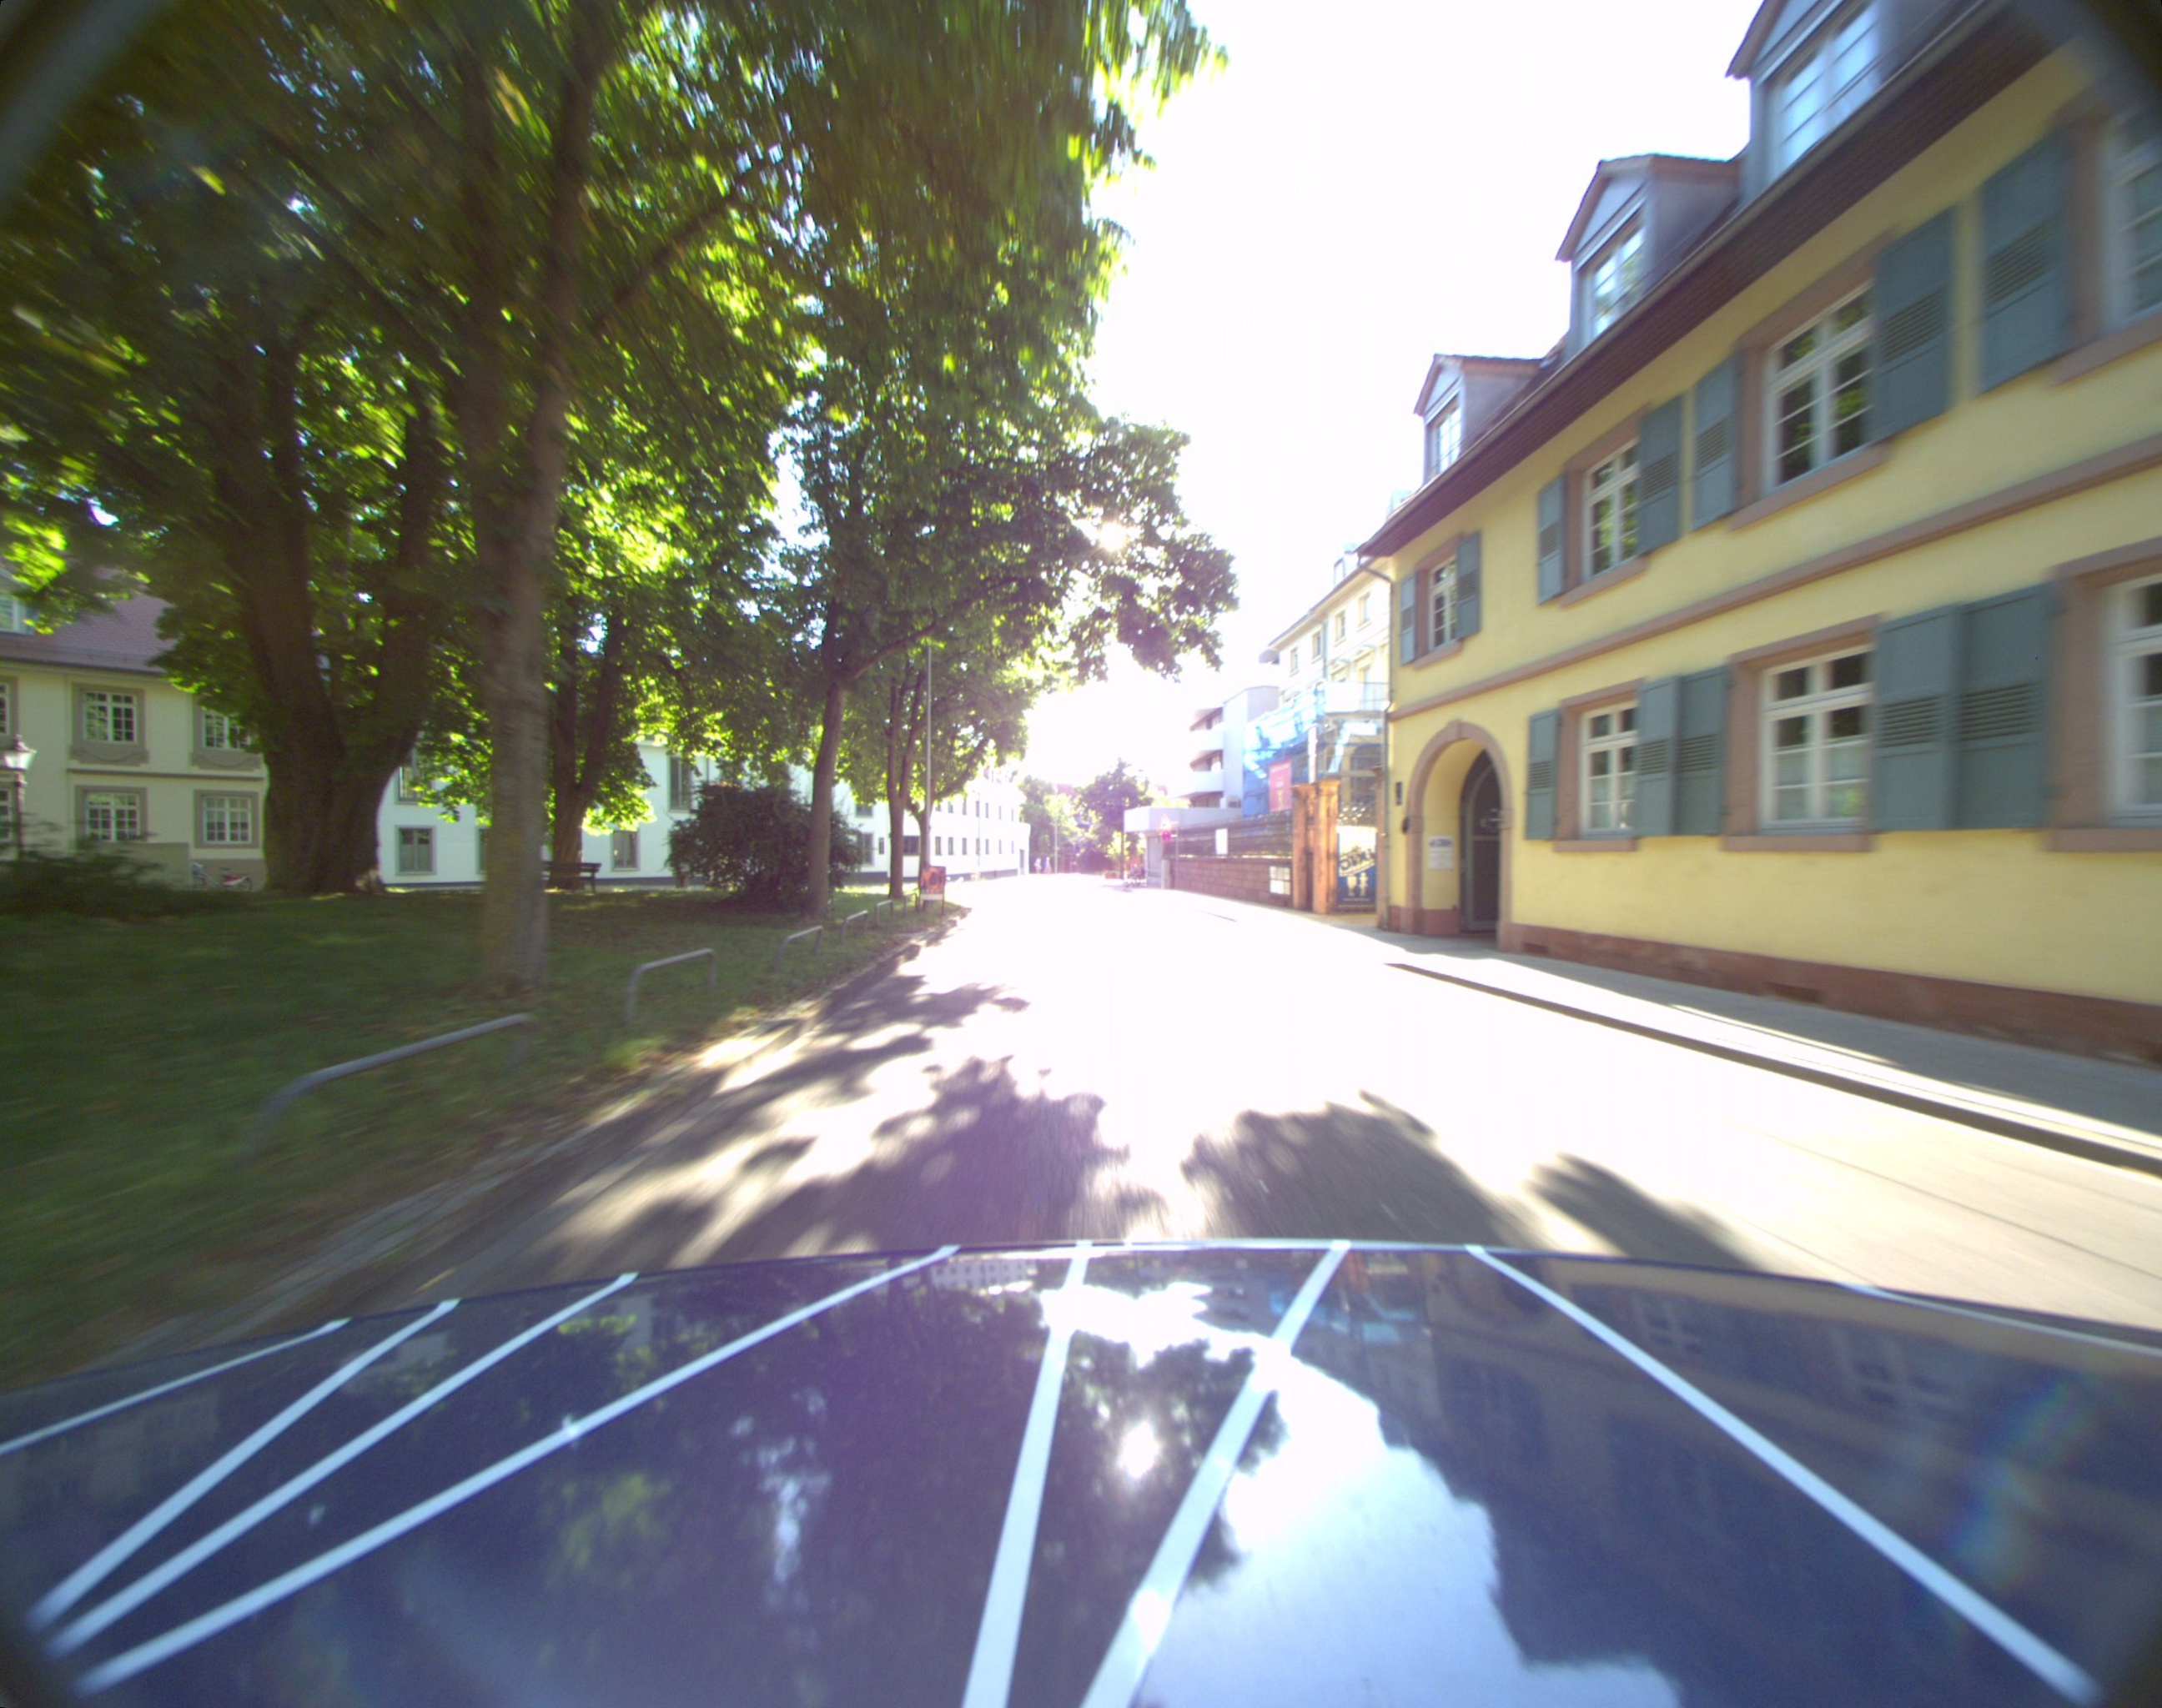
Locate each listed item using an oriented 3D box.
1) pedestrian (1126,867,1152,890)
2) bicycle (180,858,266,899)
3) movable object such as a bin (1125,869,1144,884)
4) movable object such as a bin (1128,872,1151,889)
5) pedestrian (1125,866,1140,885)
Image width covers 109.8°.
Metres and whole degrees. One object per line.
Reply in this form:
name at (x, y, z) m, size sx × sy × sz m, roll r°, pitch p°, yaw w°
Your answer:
pedestrian at (3.323, 1.387, 43.367) m, size 1.155 × 1.222 × 0.842 m, roll -2°, pitch 1°, yaw 30°
bicycle at (-28.735, 0.808, 25.488) m, size 1.767 × 1.310 × 0.720 m, roll 1°, pitch 0°, yaw -34°
movable object such as a bin at (3.538, 1.494, 49.997) m, size 1.038 × 0.923 × 0.840 m, roll -2°, pitch 1°, yaw -12°
movable object such as a bin at (3.340, 1.540, 43.467) m, size 1.035 × 0.923 × 0.842 m, roll -2°, pitch 1°, yaw 30°
pedestrian at (3.364, 1.385, 49.970) m, size 0.743 × 1.179 × 0.840 m, roll -2°, pitch 1°, yaw -12°
